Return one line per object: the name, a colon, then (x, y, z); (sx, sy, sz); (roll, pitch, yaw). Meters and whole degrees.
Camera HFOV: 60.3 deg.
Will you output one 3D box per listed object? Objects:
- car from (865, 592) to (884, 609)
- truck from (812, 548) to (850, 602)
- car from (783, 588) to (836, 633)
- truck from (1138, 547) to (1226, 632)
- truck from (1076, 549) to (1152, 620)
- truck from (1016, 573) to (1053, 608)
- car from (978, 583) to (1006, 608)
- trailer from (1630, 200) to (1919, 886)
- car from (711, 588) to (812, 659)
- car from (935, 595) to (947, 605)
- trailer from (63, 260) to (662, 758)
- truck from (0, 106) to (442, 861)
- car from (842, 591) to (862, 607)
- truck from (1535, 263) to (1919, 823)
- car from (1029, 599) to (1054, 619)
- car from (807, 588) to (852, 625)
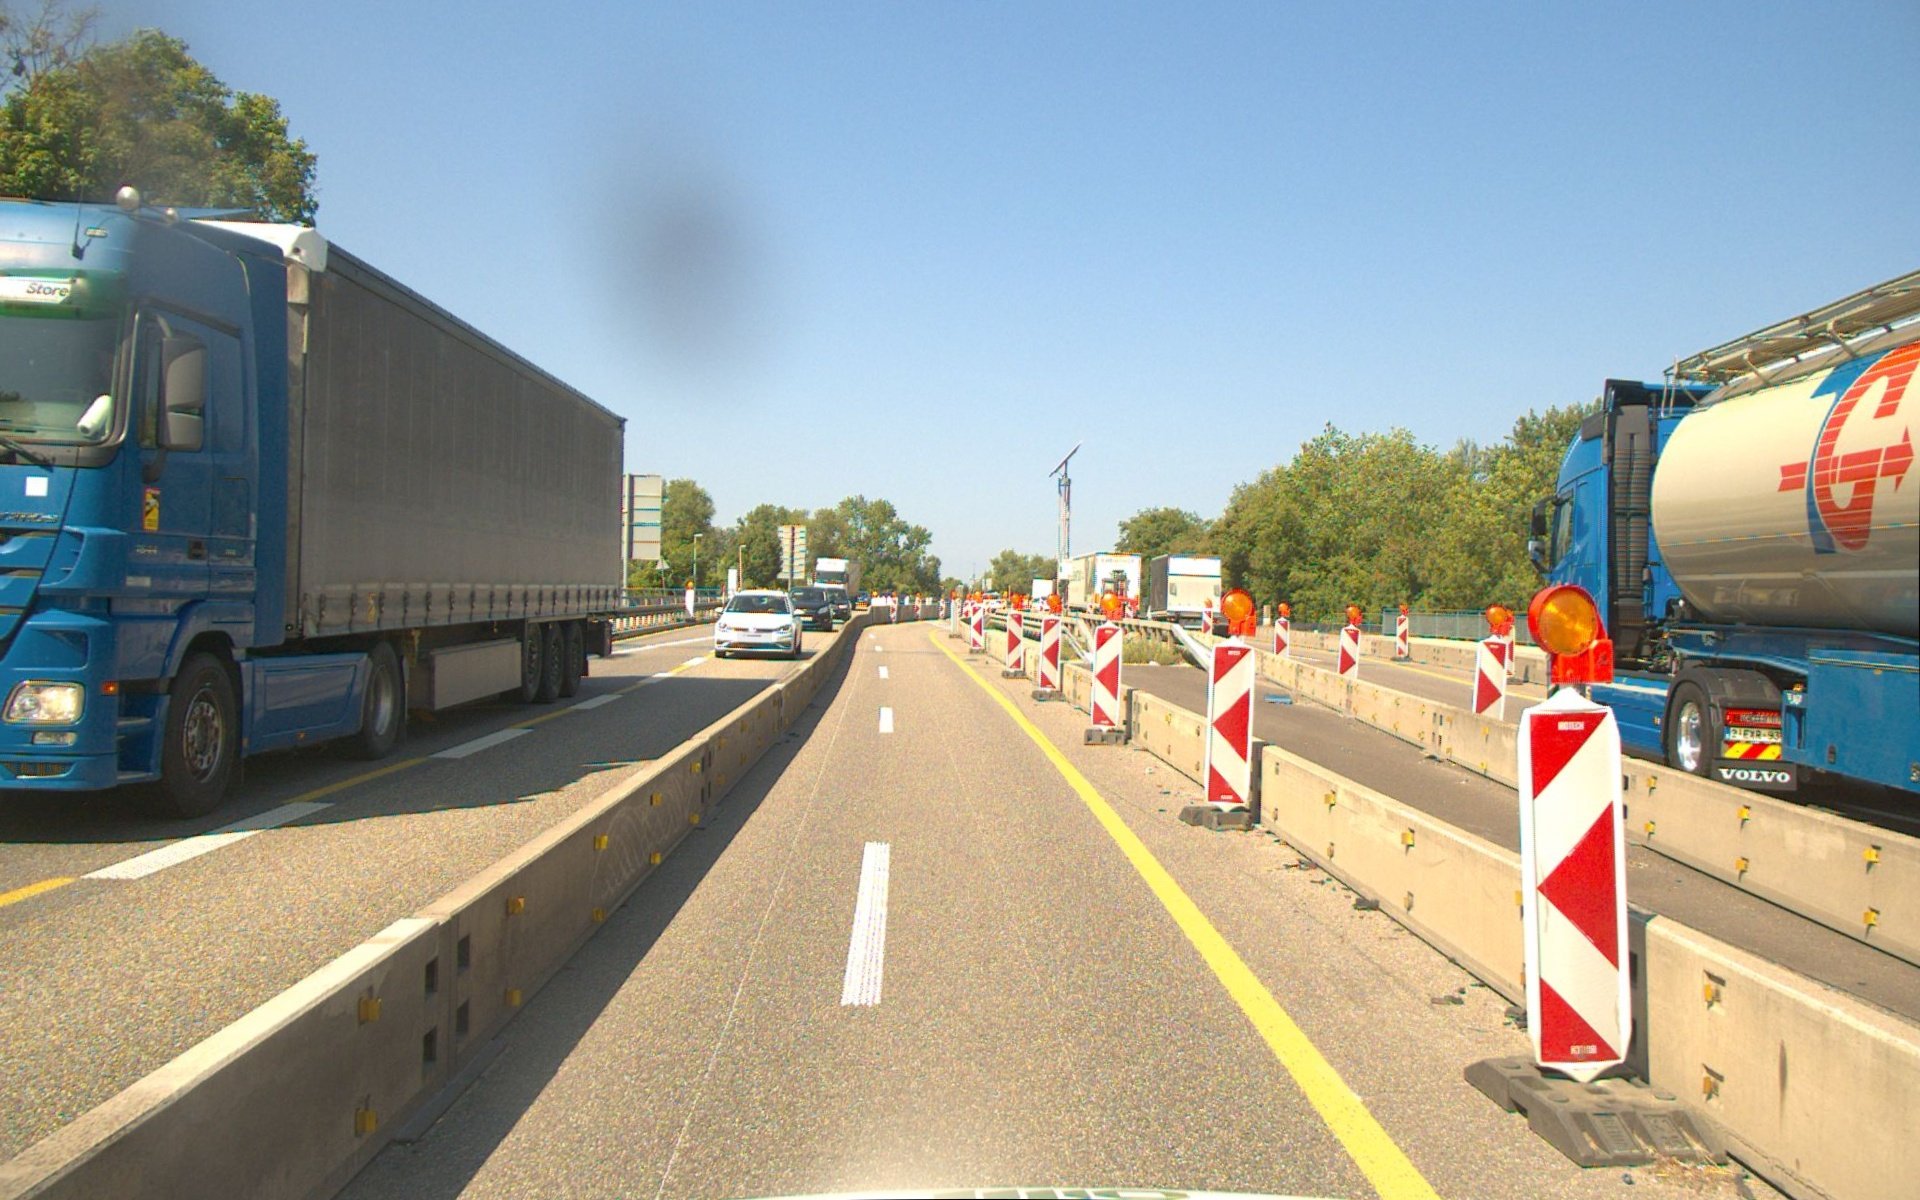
car: (-7.885, 0.035, 152.643); (1.754, 1.596, 3.871); (1, 0, -2)
truck: (-10.333, -1.982, 132.944); (2.694, 4.209, 6.413); (1, 0, -2)
car: (-5.500, 0.364, 60.760); (1.703, 1.579, 3.941); (1, 0, -2)
truck: (9.573, -0.468, 72.096); (2.581, 3.487, 7.230); (1, 0, -2)
truck: (8.621, -0.831, 93.619); (3.320, 3.840, 7.229); (1, 0, -2)
truck: (9.620, -1.197, 214.342); (4.134, 4.341, 10.239); (1, 0, -1)
car: (2.356, -0.350, 122.565); (1.780, 1.807, 3.998); (1, 0, -2)
trailer: (7.155, -0.343, 9.568); (2.637, 4.210, 12.623); (1, 0, 6)
car: (-4.376, 0.486, 36.943); (1.777, 1.442, 4.152); (1, 0, -1)
car: (-2.880, -0.060, 252.075); (1.702, 1.502, 4.645); (1, 0, 0)
trailer: (-6.186, -0.812, 20.500); (2.746, 4.113, 13.465); (1, 0, -1)
truck: (-6.011, -0.666, 11.879); (2.758, 4.060, 5.984); (1, 0, -1)
car: (-11.056, -0.135, 169.584); (1.893, 1.534, 4.468); (1, 0, -1)
truck: (7.802, -0.421, 15.951); (2.637, 4.174, 7.305); (1, 0, 6)
car: (7.460, 0.794, 151.337); (1.953, 1.807, 3.998); (1, 0, -2)
car: (-6.171, 0.283, 78.577); (1.825, 1.660, 4.564); (1, 0, -2)
